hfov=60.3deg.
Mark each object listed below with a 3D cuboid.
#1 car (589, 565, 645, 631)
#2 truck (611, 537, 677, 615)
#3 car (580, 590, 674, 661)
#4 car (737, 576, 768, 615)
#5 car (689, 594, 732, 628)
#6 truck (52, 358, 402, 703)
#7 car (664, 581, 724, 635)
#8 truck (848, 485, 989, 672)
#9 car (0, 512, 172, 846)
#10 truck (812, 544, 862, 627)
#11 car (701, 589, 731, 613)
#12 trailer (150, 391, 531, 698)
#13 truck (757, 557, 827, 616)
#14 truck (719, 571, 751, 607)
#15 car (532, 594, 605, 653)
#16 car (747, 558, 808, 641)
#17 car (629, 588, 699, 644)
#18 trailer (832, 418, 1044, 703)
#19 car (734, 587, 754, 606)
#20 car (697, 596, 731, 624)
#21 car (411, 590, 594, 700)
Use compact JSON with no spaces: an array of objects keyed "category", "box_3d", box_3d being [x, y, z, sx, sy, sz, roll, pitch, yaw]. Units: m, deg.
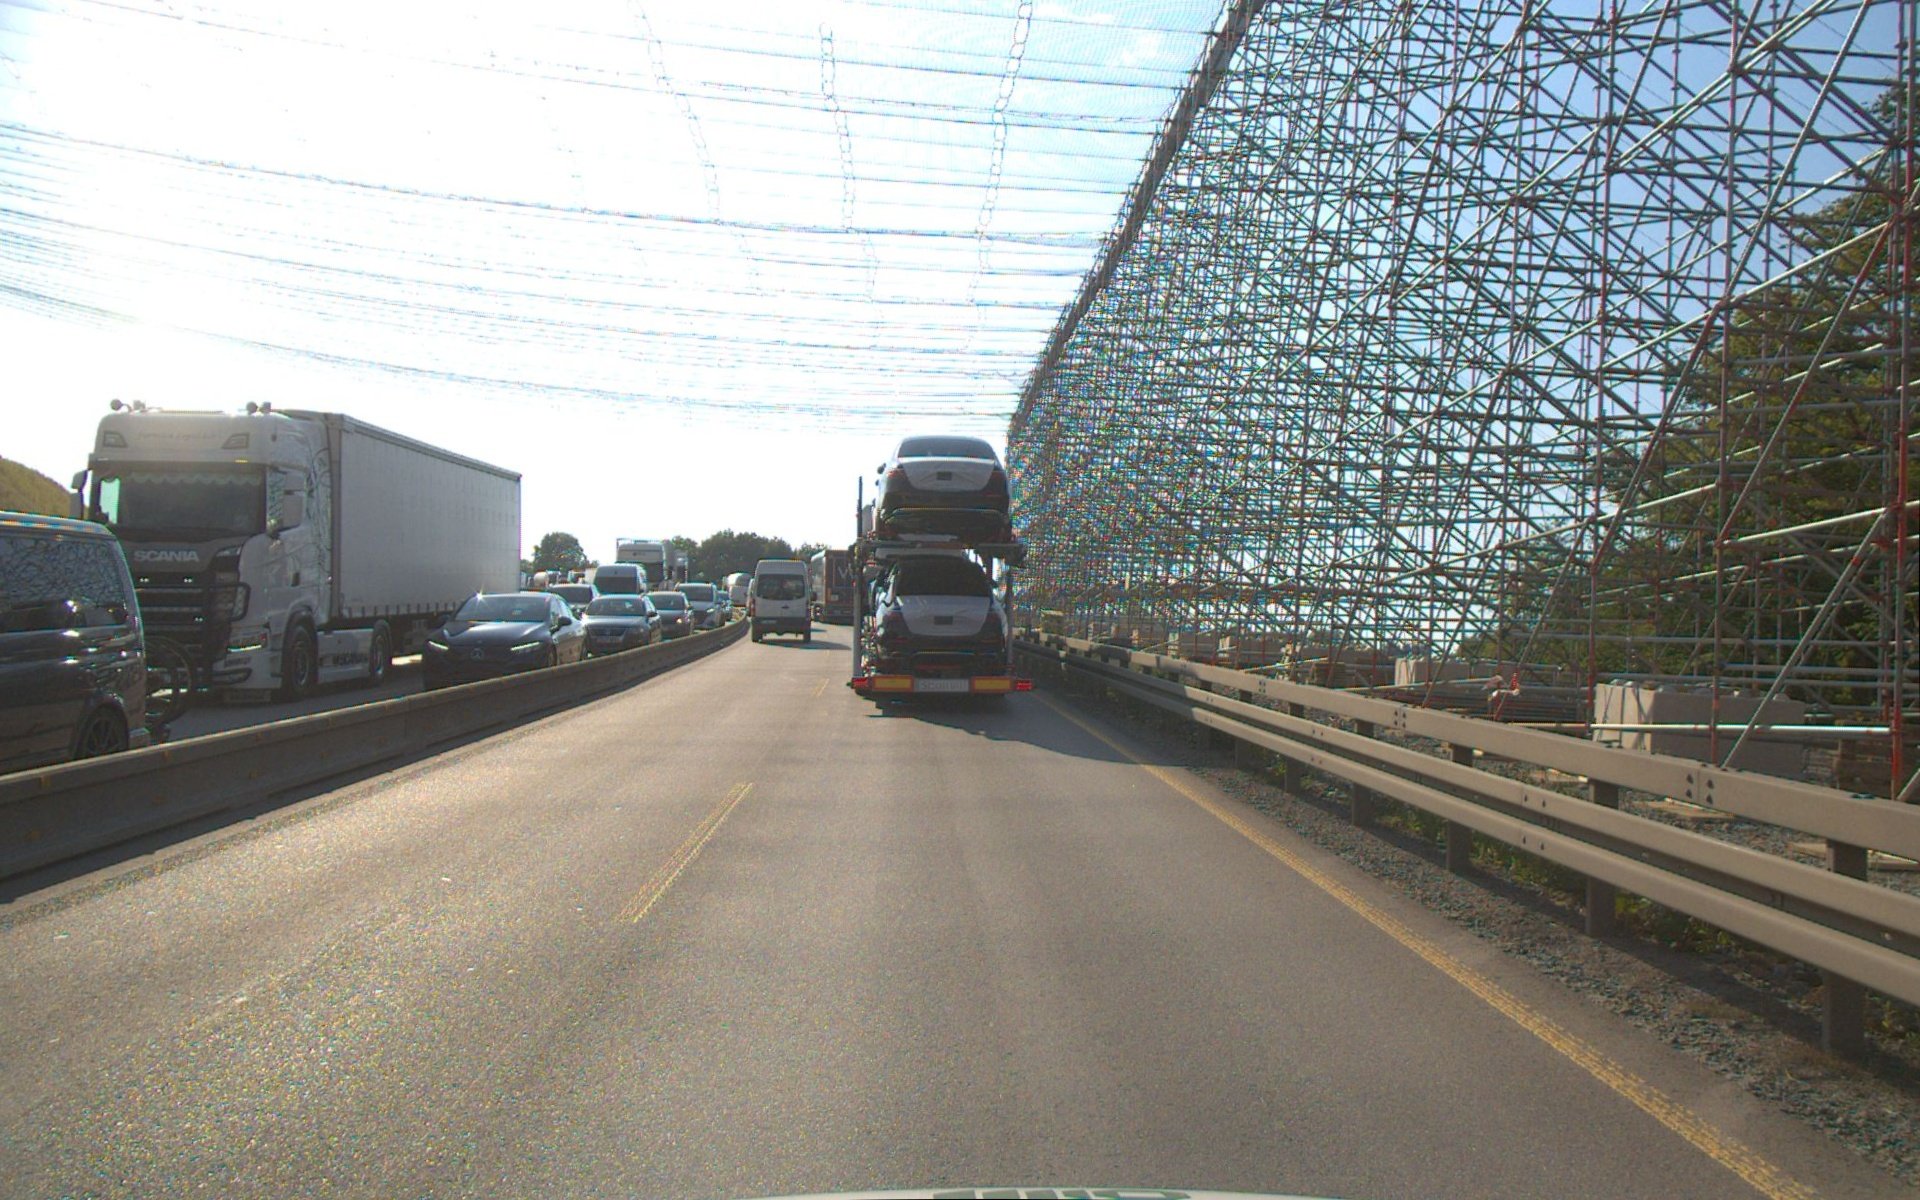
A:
[{"category":"car","box_3d":[-14.098,-0.070,68.168,1.957,2.586,3.992,2,0,-9]},{"category":"truck","box_3d":[-15.634,-1.147,82.532,2.546,3.534,12.369,2,0,-8]},{"category":"car","box_3d":[-7.972,0.574,39.912,1.708,1.570,4.401,2,0,-5]},{"category":"car","box_3d":[-14.508,-0.334,115.585,1.957,2.623,3.991,2,0,-10]},{"category":"car","box_3d":[-11.664,0.514,77.179,1.803,1.479,3.990,2,0,-10]},{"category":"truck","box_3d":[-10.197,-0.853,23.772,2.610,4.304,6.099,0,0,-4]},{"category":"car","box_3d":[-10.177,0.291,63.554,1.800,1.926,3.997,2,0,-3]},{"category":"truck","box_3d":[-0.996,-0.410,37.175,2.824,3.767,7.321,0,-1,-2]},{"category":"car","box_3d":[-6.558,0.443,9.519,1.837,1.969,4.859,2,0,-3]},{"category":"truck","box_3d":[-7.244,-0.812,96.432,2.679,4.462,11.509,1,0,-5]},{"category":"car","box_3d":[-15.885,0.046,107.540,1.671,1.479,3.989,2,0,-12]},{"category":"trailer","box_3d":[-10.633,-0.798,30.555,2.601,4.307,13.908,2,0,-4]},{"category":"truck","box_3d":[-13.473,-0.951,131.415,3.624,4.294,13.619,-2,0,-14]},{"category":"truck","box_3d":[-25.008,-1.261,183.874,2.571,3.788,9.627,2,0,-13]},{"category":"car","box_3d":[-12.229,0.698,51.864,1.647,1.713,3.995,2,0,-5]},{"category":"car","box_3d":[-6.136,0.018,55.364,1.920,2.667,3.992,0,-1,-8]},{"category":"car","box_3d":[-9.360,0.488,52.498,1.662,1.657,3.997,2,0,-3]},{"category":"trailer","box_3d":[-0.634,-0.462,29.619,2.811,3.790,14.938,0,0,-3]},{"category":"car","box_3d":[-19.237,-0.338,147.311,1.677,1.646,3.499,1,-1,-6]},{"category":"car","box_3d":[-14.191,0.563,95.236,1.671,1.479,3.989,2,0,-12]},{"category":"car","box_3d":[-7.106,0.651,26.164,1.749,1.528,4.751,2,0,-3]}]
